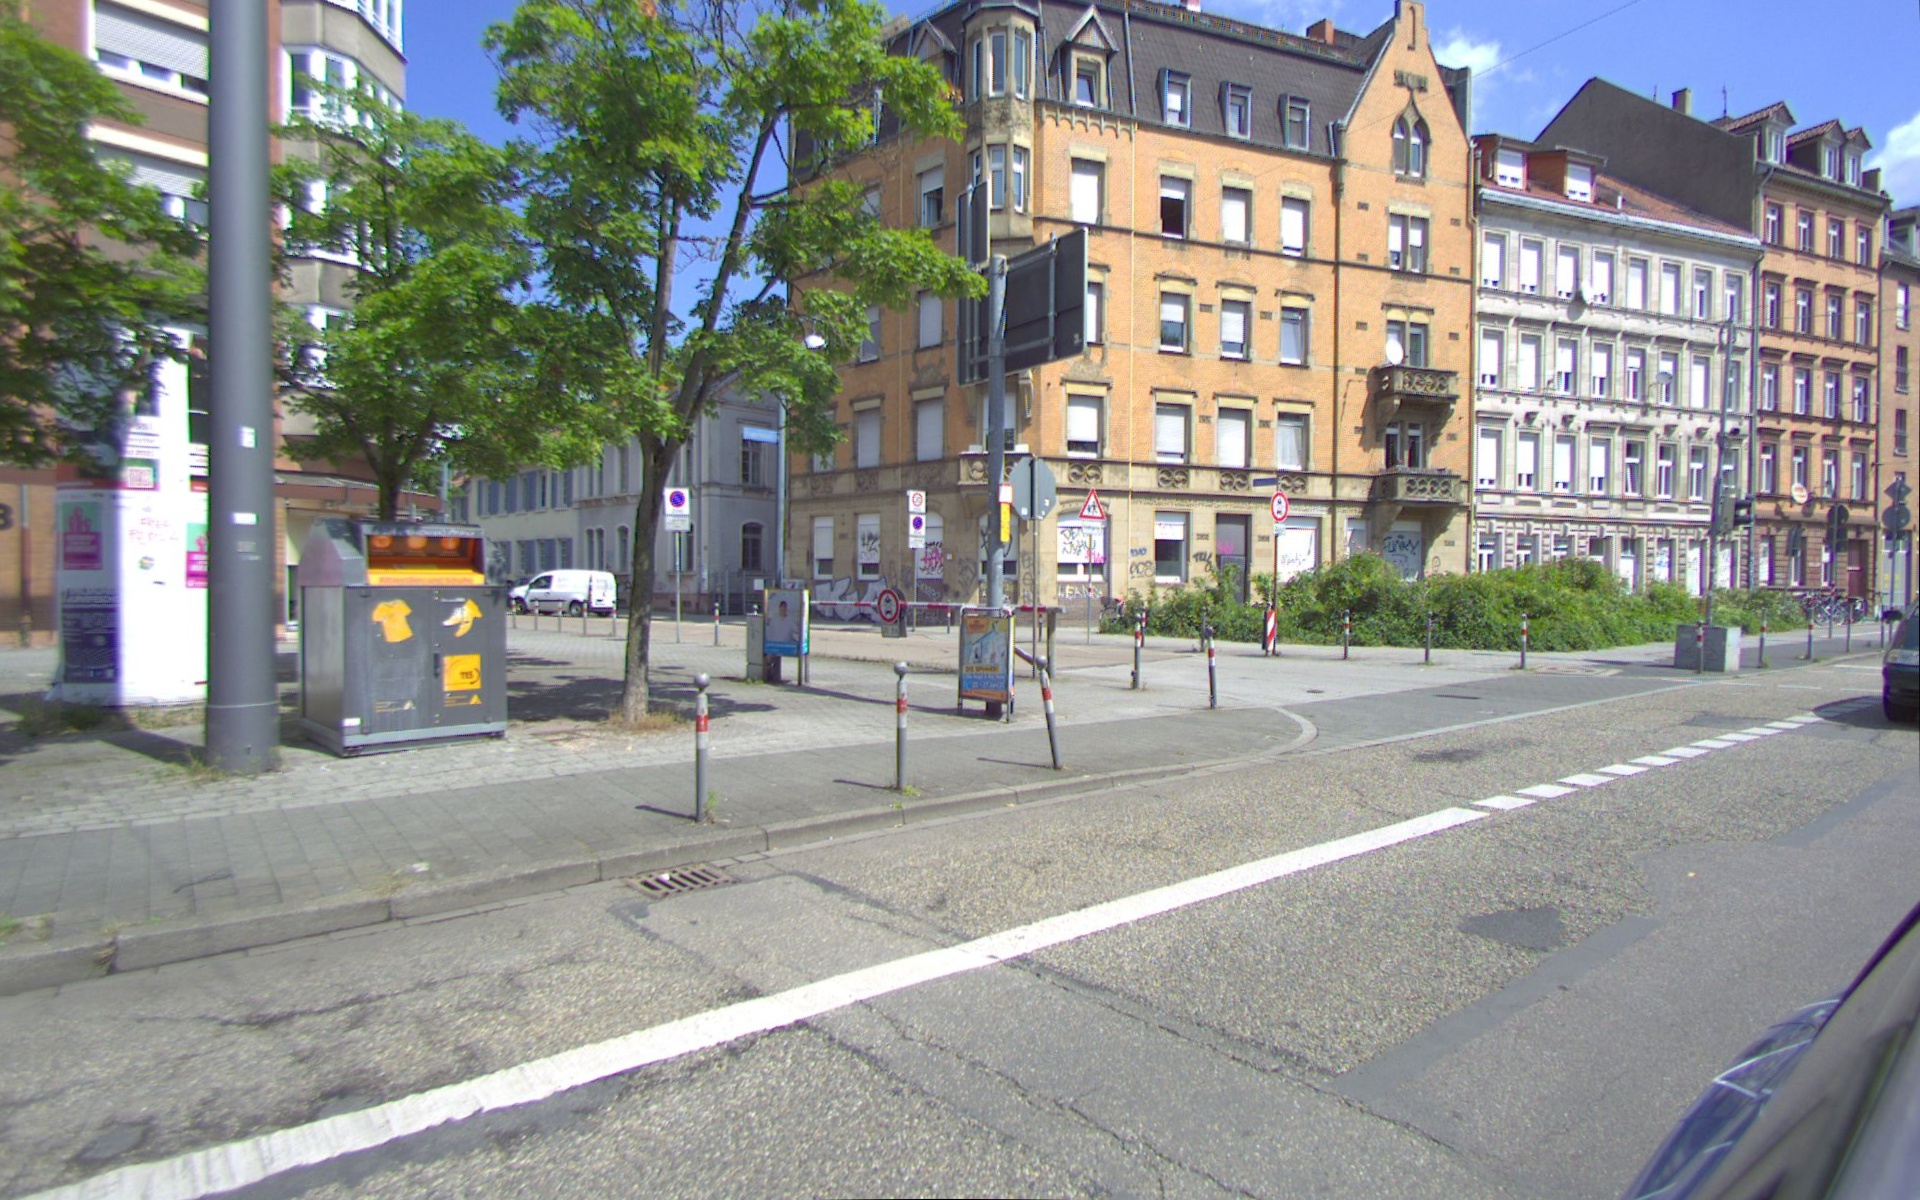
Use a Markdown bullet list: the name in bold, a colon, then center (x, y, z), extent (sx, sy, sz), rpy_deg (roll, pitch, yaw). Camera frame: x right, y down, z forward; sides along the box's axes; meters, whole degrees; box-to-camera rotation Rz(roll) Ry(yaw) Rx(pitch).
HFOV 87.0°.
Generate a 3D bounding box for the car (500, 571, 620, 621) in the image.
- **car**: center (-15.318, -0.169, 38.863), extent (3.943, 1.845, 1.931), rpy_deg (0, 1, 16)

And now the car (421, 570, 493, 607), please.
- **car**: center (-24.337, -0.555, 48.889), extent (1.968, 1.717, 3.988), rpy_deg (-2, 1, -45)

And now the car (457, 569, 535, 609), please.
- **car**: center (-21.127, -0.476, 46.013), extent (1.968, 1.717, 3.988), rpy_deg (-2, 1, -45)

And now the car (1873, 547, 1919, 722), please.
- **car**: center (12.050, 0.275, 11.294), extent (4.939, 1.778, 1.824), rpy_deg (-2, 1, -37)

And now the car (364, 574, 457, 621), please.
- **car**: center (-19.060, -0.099, 35.021), extent (1.837, 1.517, 3.989), rpy_deg (-2, 1, -44)
